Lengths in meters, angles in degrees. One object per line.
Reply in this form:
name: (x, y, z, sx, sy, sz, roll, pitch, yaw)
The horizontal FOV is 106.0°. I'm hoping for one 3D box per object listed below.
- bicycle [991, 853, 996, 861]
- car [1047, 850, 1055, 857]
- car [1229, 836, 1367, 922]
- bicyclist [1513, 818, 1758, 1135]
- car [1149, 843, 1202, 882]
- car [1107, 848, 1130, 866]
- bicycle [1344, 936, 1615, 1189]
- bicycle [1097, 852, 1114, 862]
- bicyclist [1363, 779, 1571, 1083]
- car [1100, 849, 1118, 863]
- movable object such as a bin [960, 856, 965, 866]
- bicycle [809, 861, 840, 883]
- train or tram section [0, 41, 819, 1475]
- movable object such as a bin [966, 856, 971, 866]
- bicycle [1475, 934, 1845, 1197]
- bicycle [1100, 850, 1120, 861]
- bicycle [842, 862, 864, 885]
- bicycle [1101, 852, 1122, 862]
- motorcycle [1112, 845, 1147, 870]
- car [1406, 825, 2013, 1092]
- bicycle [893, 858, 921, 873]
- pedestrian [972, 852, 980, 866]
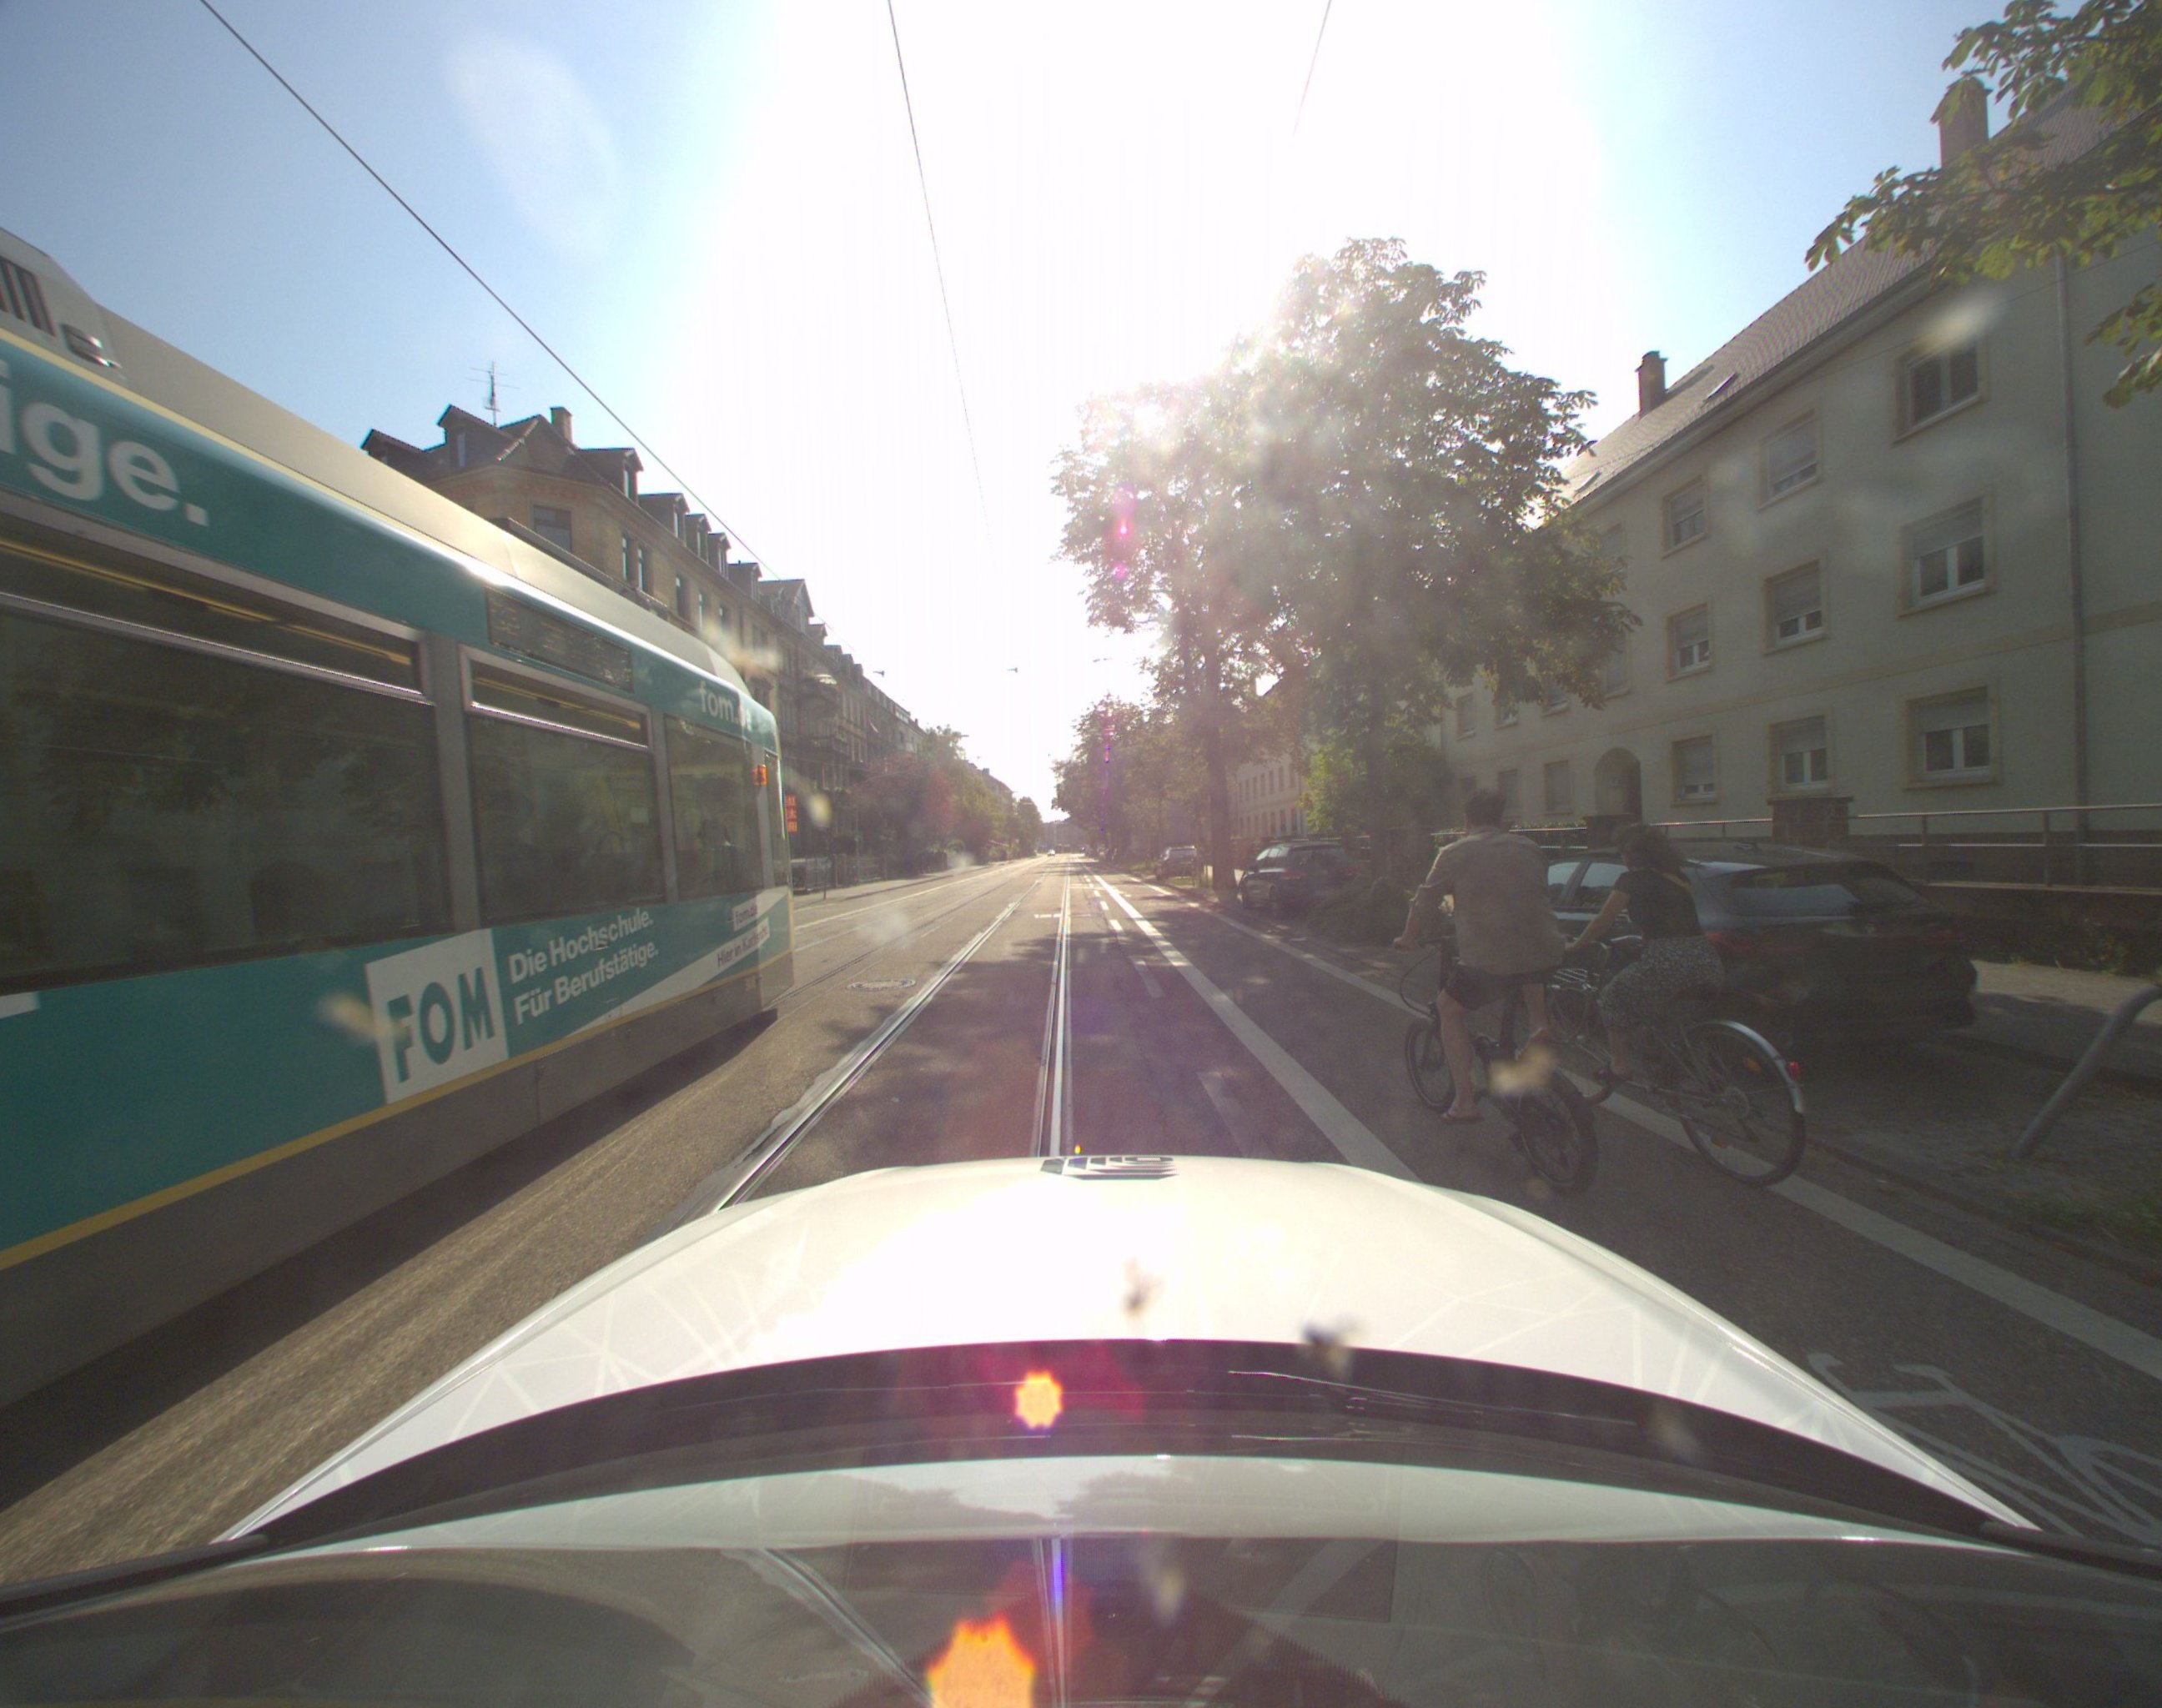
bicycle: (-13.098, 0.488, 122.135, 0.559, 1.221, 2.114, -2, 0, 1)
car: (-7.397, -0.116, 201.003, 1.722, 1.638, 3.982, -2, 0, -1)
car: (4.466, 0.468, 17.425, 1.685, 1.502, 4.093, -4, 0, -2)
bicyclist: (2.836, 0.568, 4.259, 0.652, 1.474, 0.908, 0, 0, -2)
car: (4.121, 0.358, 36.157, 1.738, 1.560, 4.717, -2, 0, -1)
car: (3.421, 0.285, 74.551, 1.722, 1.504, 3.982, -3, 0, -1)
bicycle: (1.946, 0.961, 4.225, 0.625, 0.909, 1.524, 0, 0, -2)
bicycle: (3.043, 0.401, 102.041, 2.102, 1.105, 0.615, -3, 0, -3)
bicyclist: (1.951, 0.354, 4.236, 0.625, 1.401, 0.929, 0, 0, -2)
car: (3.097, 0.219, 91.565, 1.766, 1.473, 3.972, -2, -1, -1)
movable object such as a bin: (-13.857, 0.818, 95.376, 0.589, 1.078, 0.703, -2, 0, -8)
bicycle: (-12.556, 0.861, 39.877, 1.355, 1.060, 0.416, 0, 0, -5)
train or tram section: (-4.037, -0.238, 3.246, 2.727, 3.505, 10.769, -1, 0, -2)
movable object such as a bin: (-13.190, 0.817, 95.469, 0.630, 1.078, 0.703, -2, 0, -8)
bicycle: (2.841, 0.965, 4.274, 0.652, 0.909, 1.773, 0, 0, -2)
bicycle: (3.154, 0.162, 87.907, 2.106, 1.105, 0.561, -2, 0, -9)
bicycle: (-11.442, 0.965, 40.942, 0.507, 1.107, 2.002, -2, 0, -1)
bicycle: (3.263, 0.318, 87.390, 2.106, 1.105, 0.561, -2, 0, -9)
motorcycle: (3.494, 0.283, 58.765, 2.389, 1.673, 0.919, -3, 1, 43)
car: (4.578, 0.593, 6.954, 1.685, 1.434, 4.334, -4, 1, -2)
bicycle: (-13.469, 0.919, 63.050, 2.012, 1.104, 0.587, -2, 0, -5)
pedestrian: (-12.399, 0.549, 96.208, 0.750, 1.591, 0.878, -2, 0, -1)
